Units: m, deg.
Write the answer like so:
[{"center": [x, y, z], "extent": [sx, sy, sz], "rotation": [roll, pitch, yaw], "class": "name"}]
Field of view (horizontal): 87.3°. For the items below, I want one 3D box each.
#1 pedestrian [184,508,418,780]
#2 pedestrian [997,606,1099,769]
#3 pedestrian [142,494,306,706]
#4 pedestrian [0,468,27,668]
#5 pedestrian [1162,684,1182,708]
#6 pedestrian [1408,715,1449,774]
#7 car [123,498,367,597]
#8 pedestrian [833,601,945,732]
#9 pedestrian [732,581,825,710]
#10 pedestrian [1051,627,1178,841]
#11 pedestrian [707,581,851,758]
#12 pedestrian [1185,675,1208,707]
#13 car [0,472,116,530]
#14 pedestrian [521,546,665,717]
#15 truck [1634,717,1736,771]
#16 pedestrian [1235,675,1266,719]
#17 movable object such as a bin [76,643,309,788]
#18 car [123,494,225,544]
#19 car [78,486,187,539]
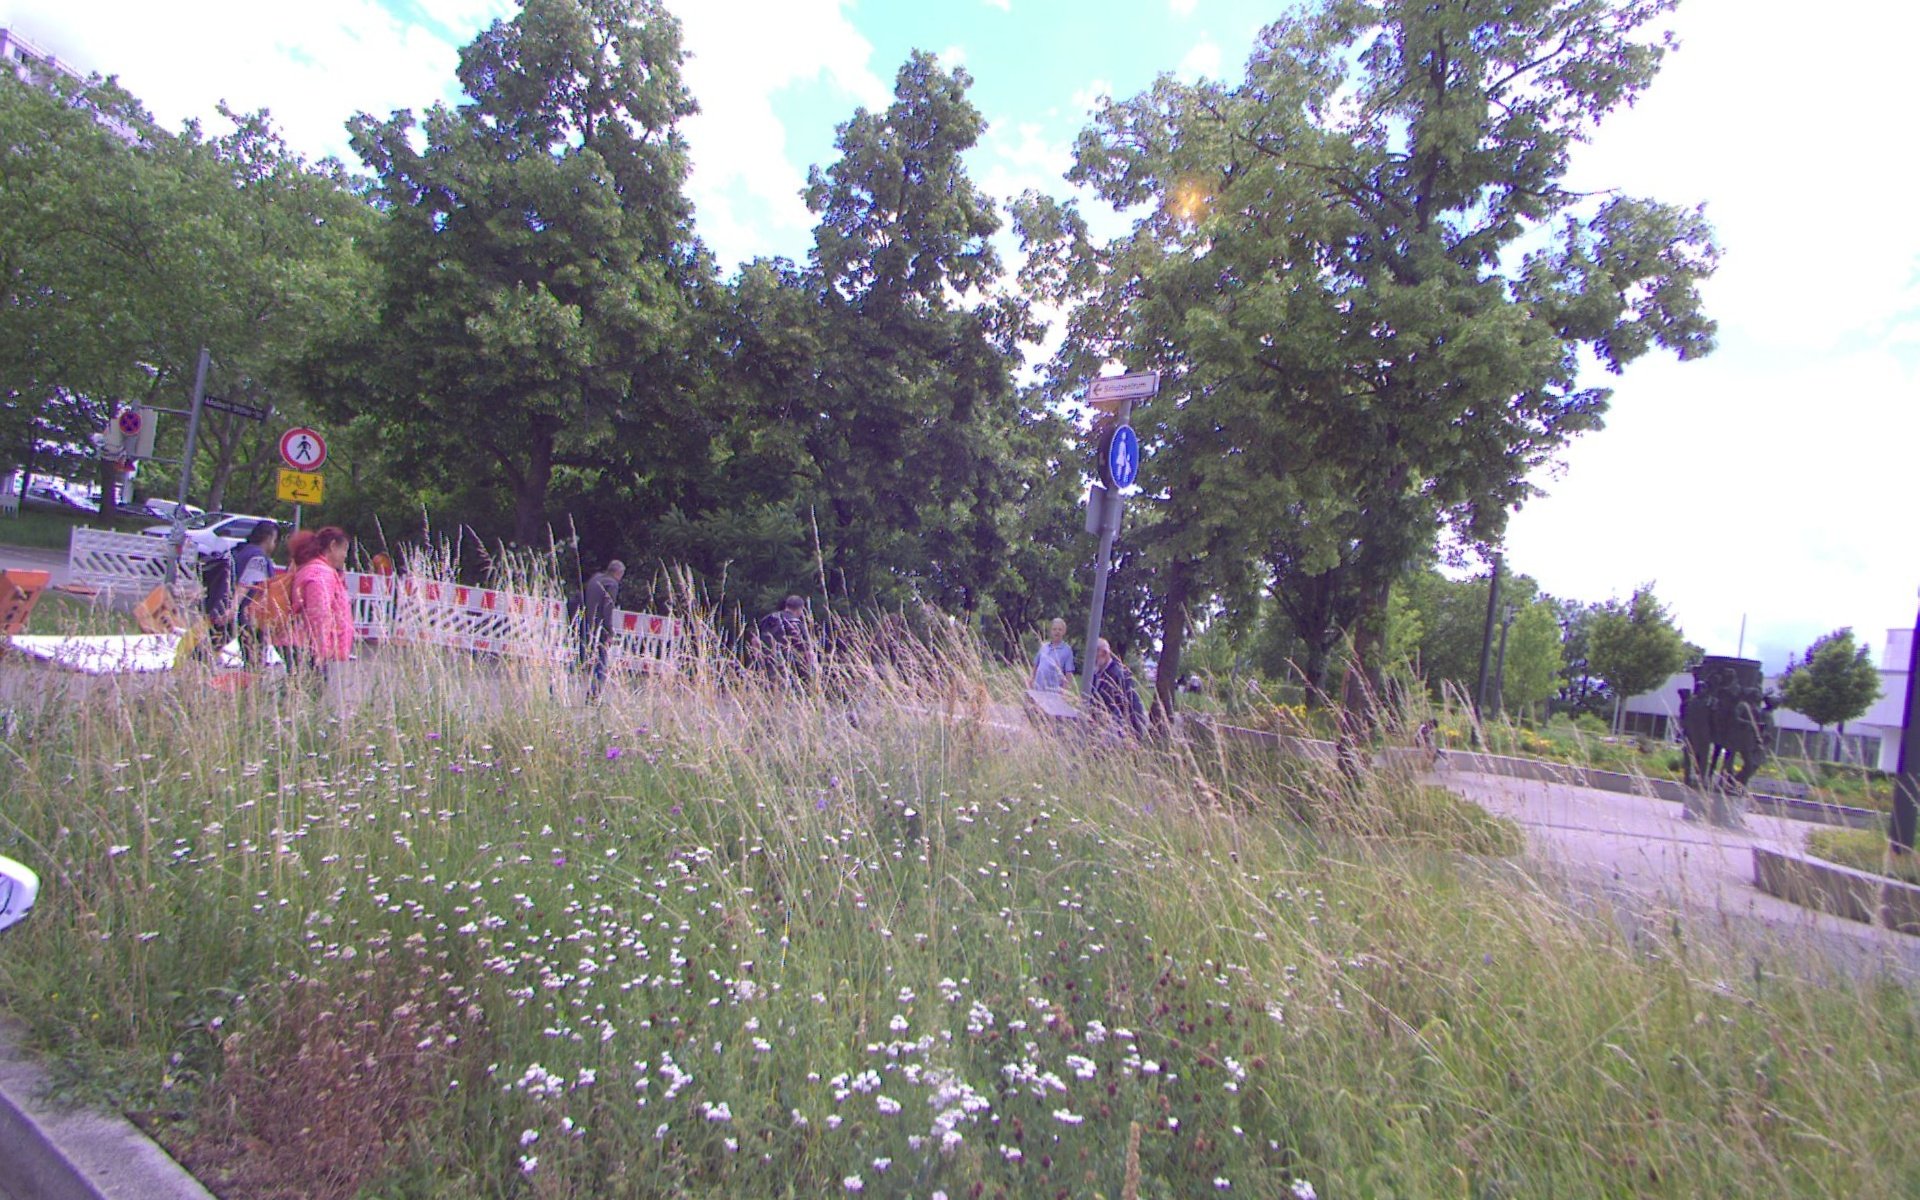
[{"center": [-4.237, 0.285, 6.504], "extent": [0.734, 1.573, 0.882], "rotation": [7, -1, 32], "class": "pedestrian"}, {"center": [1.090, 1.071, 12.377], "extent": [0.760, 1.862, 0.763], "rotation": [7, -1, 35], "class": "pedestrian"}, {"center": [-6.248, -0.002, 8.567], "extent": [0.908, 1.626, 0.920], "rotation": [8, -1, -37], "class": "pedestrian"}, {"center": [-7.907, -0.269, 7.725], "extent": [0.889, 1.615, 0.898], "rotation": [8, -1, -40], "class": "pedestrian"}, {"center": [15.666, 7.118, 74.399], "extent": [1.135, 1.571, 0.818], "rotation": [8, -1, -2], "class": "pedestrian"}, {"center": [10.778, 3.311, 23.146], "extent": [0.623, 1.236, 0.618], "rotation": [7, -1, 36], "class": "pedestrian"}, {"center": [-19.713, -1.385, 28.047], "extent": [1.915, 1.895, 5.090], "rotation": [7, -2, 28], "class": "car"}, {"center": [-0.992, 0.936, 14.129], "extent": [0.917, 1.667, 1.018], "rotation": [7, -1, 45], "class": "pedestrian"}, {"center": [-2.674, 0.682, 14.849], "extent": [0.815, 1.763, 0.782], "rotation": [7, 0, 34], "class": "pedestrian"}, {"center": [1.294, 1.098, 8.564], "extent": [0.750, 1.644, 0.772], "rotation": [8, -1, 0], "class": "pedestrian"}, {"center": [-1.876, 0.723, 10.494], "extent": [0.866, 1.667, 0.960], "rotation": [7, -1, 32], "class": "pedestrian"}, {"center": [13.875, 5.340, 58.938], "extent": [0.879, 1.732, 0.817], "rotation": [8, -1, 30], "class": "pedestrian"}, {"center": [-43.690, -4.775, 48.568], "extent": [3.926, 2.037, 2.001], "rotation": [8, -1, 0], "class": "car"}, {"center": [-4.199, 0.379, 11.539], "extent": [0.914, 1.794, 1.004], "rotation": [7, -1, 32], "class": "pedestrian"}, {"center": [37.322, 7.402, 51.916], "extent": [1.965, 2.037, 3.999], "rotation": [8, -1, -4], "class": "truck"}, {"center": [14.854, 4.964, 51.428], "extent": [1.137, 2.037, 0.817], "rotation": [8, 0, 30], "class": "pedestrian"}, {"center": [-4.426, 0.652, 5.819], "extent": [0.765, 0.669, 0.797], "rotation": [7, -1, 32], "class": "movable object such as a bin"}, {"center": [-44.238, -4.526, 56.687], "extent": [3.926, 2.037, 2.001], "rotation": [8, -1, 0], "class": "car"}, {"center": [-43.783, -4.599, 53.284], "extent": [3.926, 2.037, 2.001], "rotation": [8, -1, 0], "class": "car"}]
